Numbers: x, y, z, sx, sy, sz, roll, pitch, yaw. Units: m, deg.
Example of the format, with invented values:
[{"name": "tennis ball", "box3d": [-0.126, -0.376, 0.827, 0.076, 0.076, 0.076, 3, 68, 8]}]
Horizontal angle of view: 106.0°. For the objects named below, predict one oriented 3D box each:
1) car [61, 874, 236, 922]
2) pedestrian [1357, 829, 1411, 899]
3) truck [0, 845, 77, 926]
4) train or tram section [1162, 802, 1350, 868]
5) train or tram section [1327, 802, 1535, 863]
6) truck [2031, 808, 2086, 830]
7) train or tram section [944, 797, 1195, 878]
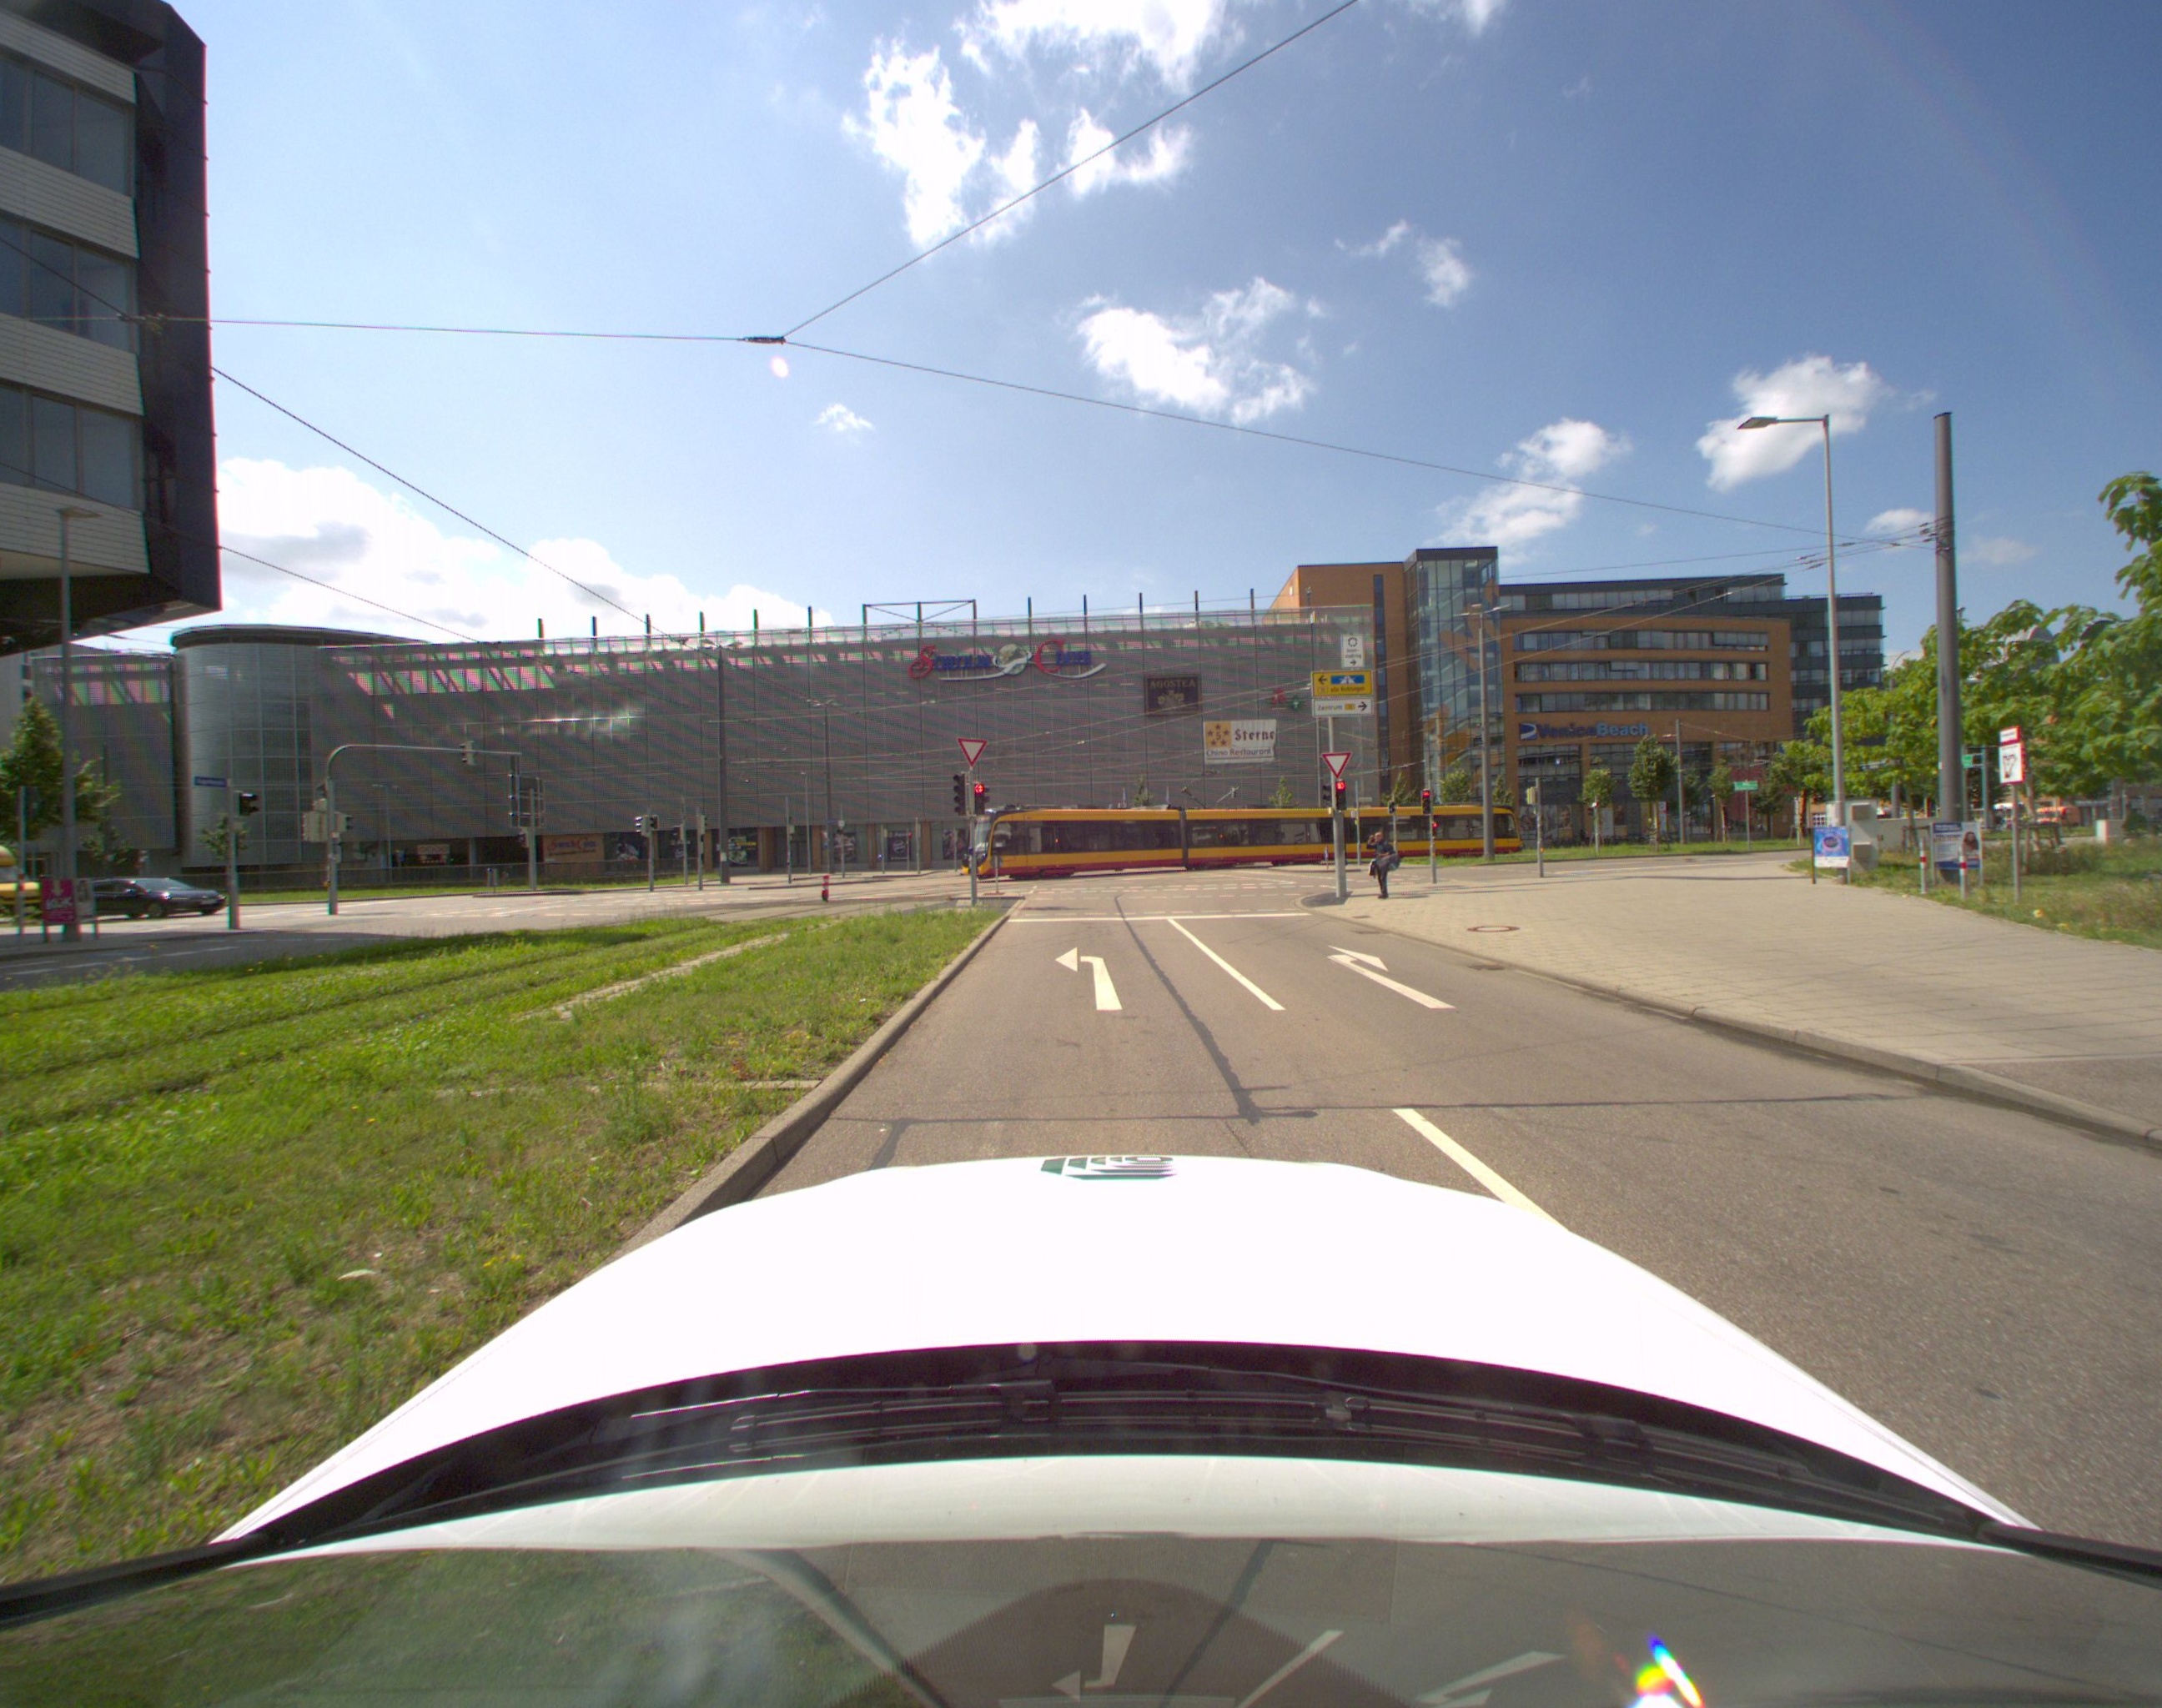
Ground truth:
[{"name": "car", "box3d": [-32.892, 1.523, 28.813, 4.083, 1.469, 1.828, -2, 0, 1]}, {"name": "pedestrian", "box3d": [7.708, 0.252, 20.717, 0.810, 1.702, 0.910, -3, 0, -27]}, {"name": "truck", "box3d": [-40.828, 1.186, 29.075, 6.825, 2.829, 2.447, -2, 0, 0]}, {"name": "train or tram section", "box3d": [10.394, -1.120, 47.963, 10.999, 3.603, 3.043, -1, 1, -22]}, {"name": "train or tram section", "box3d": [22.055, -1.371, 51.426, 12.601, 3.621, 3.053, -1, 0, -12]}, {"name": "truck", "box3d": [95.886, -3.458, 79.908, 5.529, 2.085, 1.985, -1, 1, -23]}, {"name": "train or tram section", "box3d": [-0.146, -0.871, 41.563, 13.564, 3.599, 3.190, -1, 1, -38]}]
